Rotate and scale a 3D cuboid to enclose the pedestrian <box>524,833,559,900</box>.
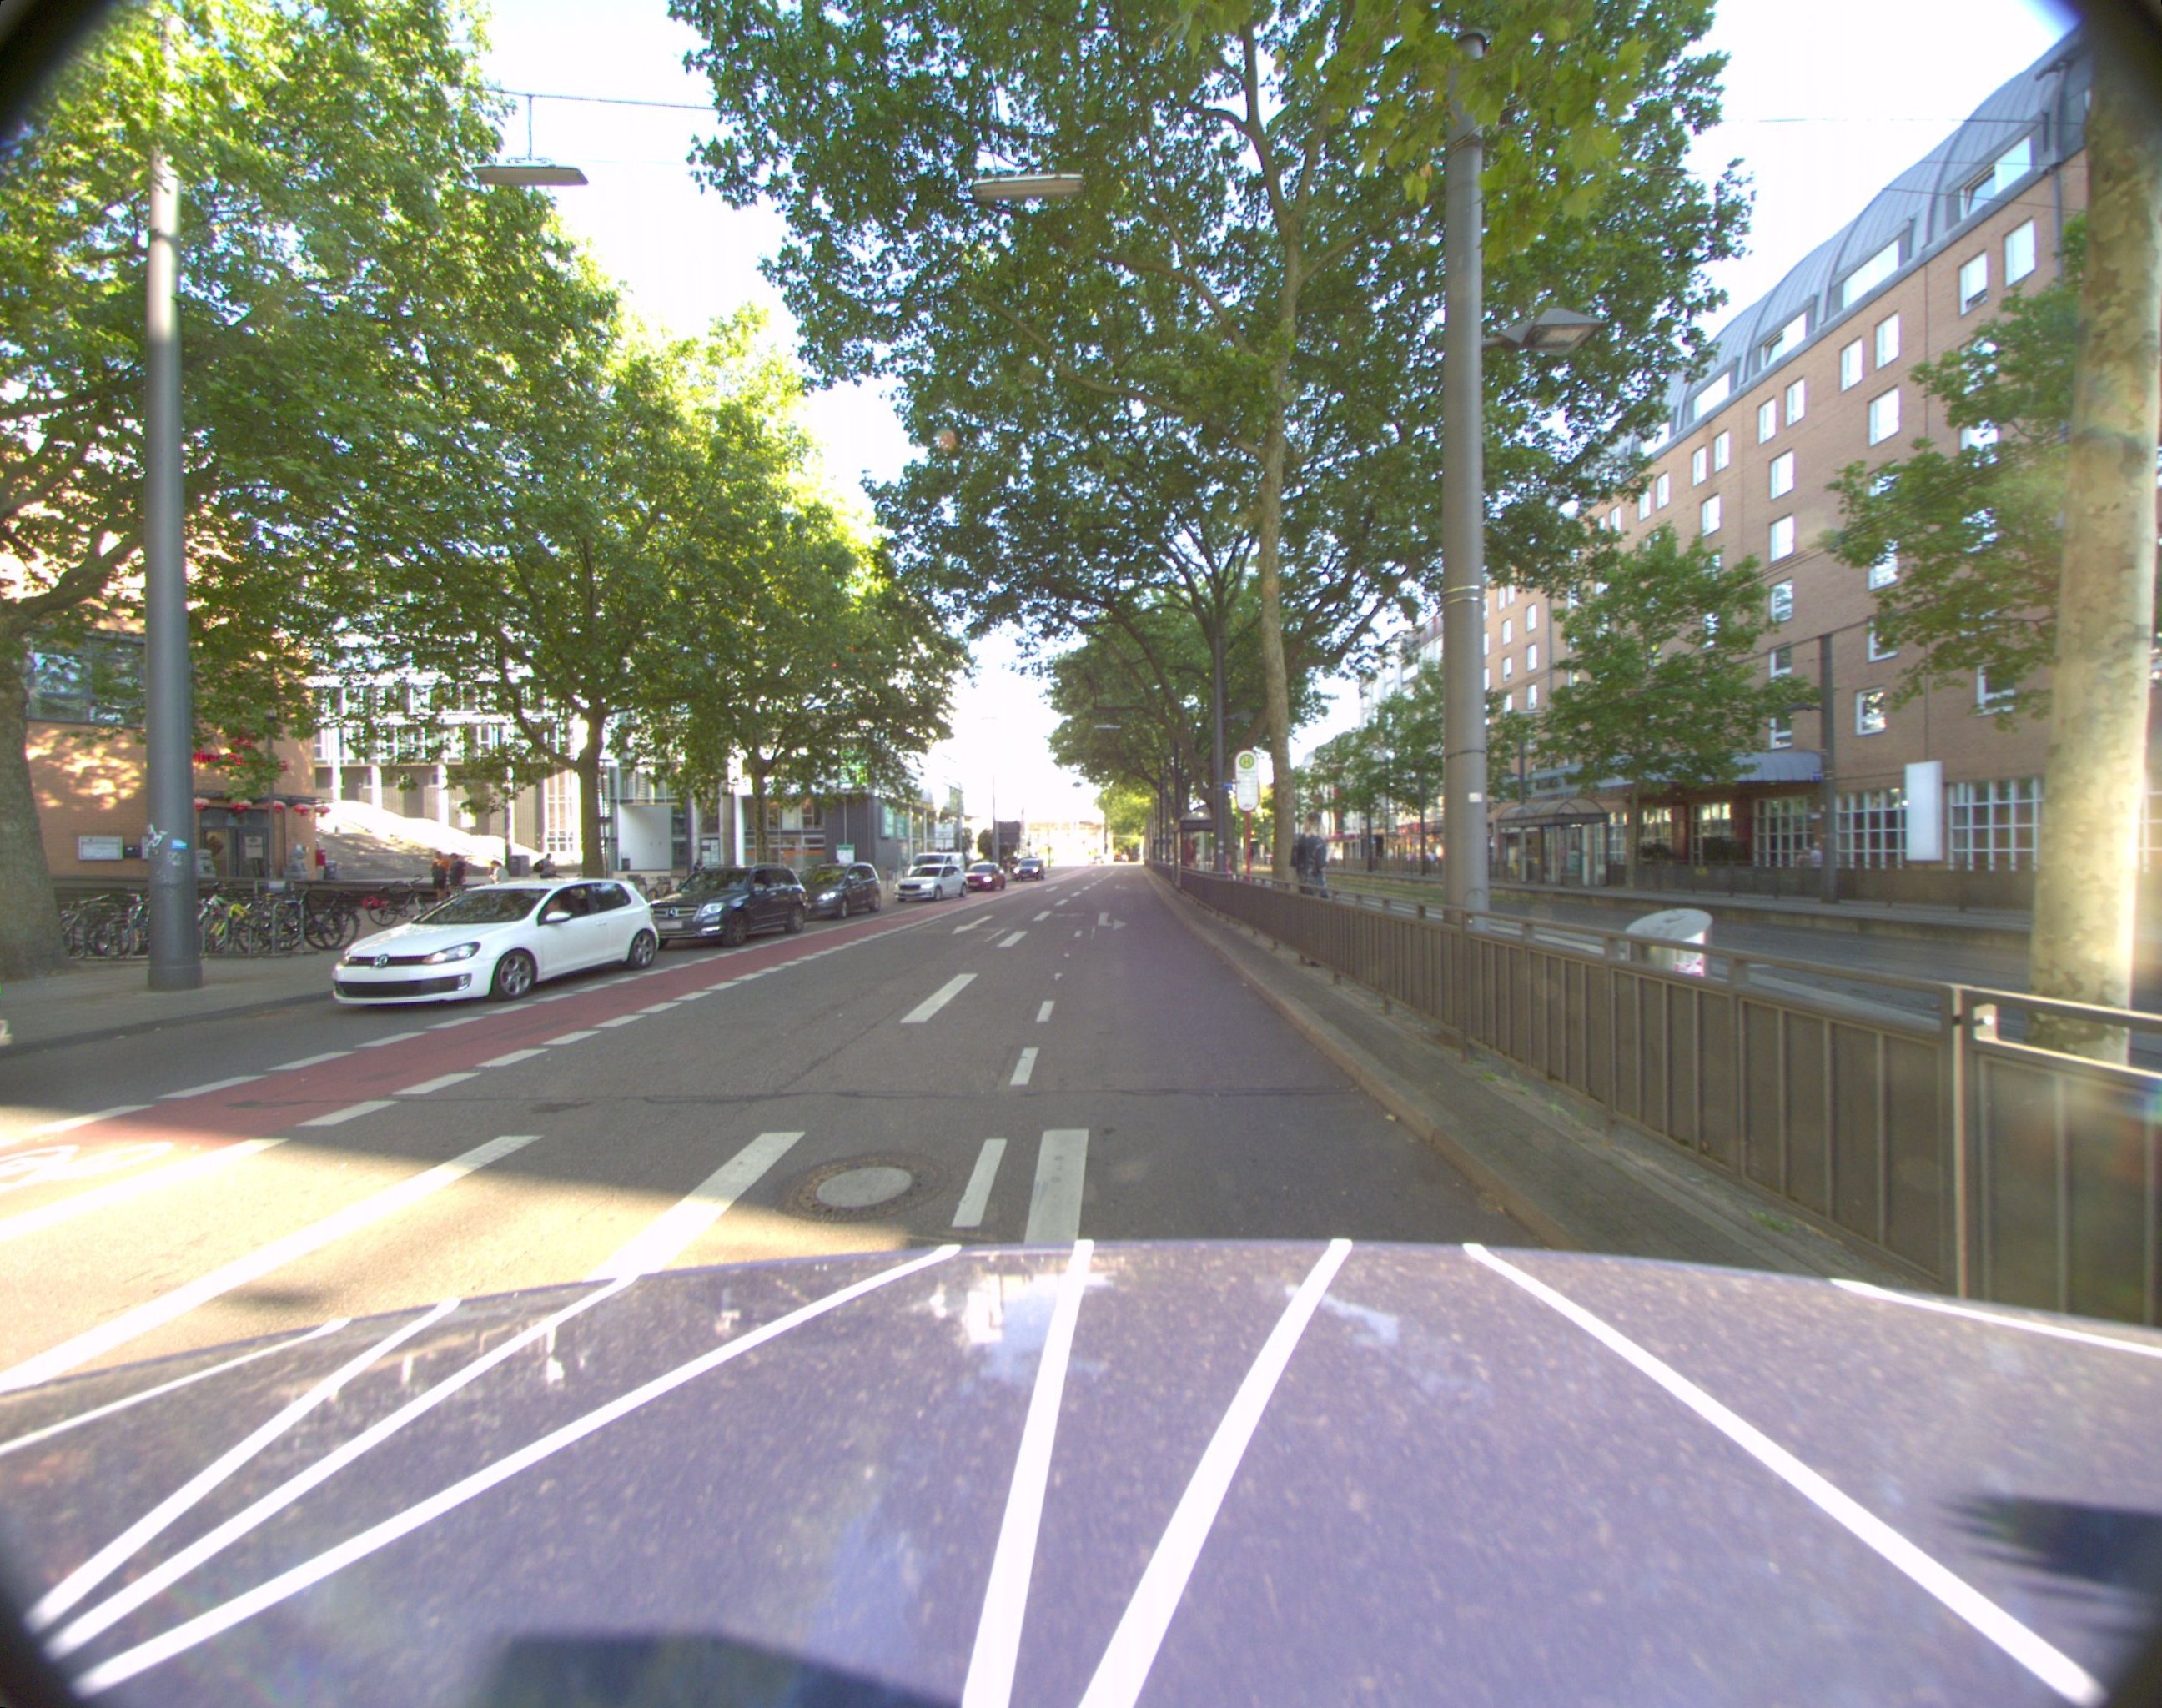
[{"bbox_3d":[-21.722,0.497,30.618,0.981,2.633,0.900,-3,1,-31],"label":"pedestrian"}]

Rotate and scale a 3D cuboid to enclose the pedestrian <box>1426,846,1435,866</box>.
[{"bbox_3d":[30.710,0.150,66.729,0.504,1.725,0.574,-1,1,3],"label":"pedestrian"}]

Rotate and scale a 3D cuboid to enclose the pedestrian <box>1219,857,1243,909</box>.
[{"bbox_3d":[3.876,0.746,19.636,0.542,1.310,0.524,-2,1,12],"label":"pedestrian"}]

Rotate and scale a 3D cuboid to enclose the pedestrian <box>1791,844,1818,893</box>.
[{"bbox_3d":[25.690,0.525,26.981,0.479,1.725,0.545,0,1,8],"label":"pedestrian"}]

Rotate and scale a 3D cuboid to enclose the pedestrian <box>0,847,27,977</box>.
[{"bbox_3d":[-17.081,0.896,11.464,0.934,2.002,1.091,-1,1,-25],"label":"pedestrian"}]

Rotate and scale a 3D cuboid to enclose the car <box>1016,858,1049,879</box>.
[{"bbox_3d":[-3.705,1.099,58.367,1.784,1.481,4.197,-3,0,6],"label":"car"}]

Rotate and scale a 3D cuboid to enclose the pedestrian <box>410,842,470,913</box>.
[{"bbox_3d":[-21.202,0.763,25.137,1.048,2.235,1.221,-1,1,38],"label":"pedestrian"}]

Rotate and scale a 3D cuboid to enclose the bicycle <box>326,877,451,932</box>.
[{"bbox_3d":[-17.848,1.270,19.716,0.699,1.193,2.700,-2,1,1],"label":"bicycle"}]

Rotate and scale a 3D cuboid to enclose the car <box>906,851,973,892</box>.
[{"bbox_3d":[-7.356,0.868,40.233,1.932,1.953,5.920,-2,0,5],"label":"car"}]

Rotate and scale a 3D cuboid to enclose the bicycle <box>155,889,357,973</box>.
[{"bbox_3d":[-14.047,1.257,13.087,0.751,1.155,2.398,-2,1,2],"label":"bicycle"}]

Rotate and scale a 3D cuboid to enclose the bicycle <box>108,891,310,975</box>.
[{"bbox_3d":[-14.854,1.299,13.076,0.671,1.155,2.305,-2,1,3],"label":"bicycle"}]

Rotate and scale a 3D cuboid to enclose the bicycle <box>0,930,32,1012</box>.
[{"bbox_3d":[-13.363,1.436,7.994,0.925,0.943,2.637,-2,1,1],"label":"bicycle"}]

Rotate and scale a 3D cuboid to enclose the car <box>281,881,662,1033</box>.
[{"bbox_3d":[-7.588,1.170,10.067,1.639,1.420,3.987,-2,0,3],"label":"car"}]

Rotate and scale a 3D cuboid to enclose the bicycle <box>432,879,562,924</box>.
[{"bbox_3d":[-16.221,1.293,21.097,3.328,1.077,1.150,0,1,18],"label":"bicycle"}]

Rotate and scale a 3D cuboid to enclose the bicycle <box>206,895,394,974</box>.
[{"bbox_3d":[-13.114,1.311,12.903,0.682,1.054,2.337,-1,1,2],"label":"bicycle"}]

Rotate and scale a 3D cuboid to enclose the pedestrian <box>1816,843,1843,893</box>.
[{"bbox_3d":[26.410,0.496,26.819,0.443,1.725,0.545,0,1,8],"label":"pedestrian"}]

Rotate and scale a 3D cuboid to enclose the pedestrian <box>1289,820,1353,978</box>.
[{"bbox_3d":[2.862,0.525,9.102,0.543,1.823,0.524,-2,1,0],"label":"pedestrian"}]

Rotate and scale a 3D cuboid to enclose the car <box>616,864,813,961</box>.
[{"bbox_3d":[-7.367,1.088,15.836,1.768,1.626,4.251,-2,0,4],"label":"car"}]

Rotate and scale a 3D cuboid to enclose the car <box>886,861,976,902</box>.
[{"bbox_3d":[-6.156,1.109,31.690,1.833,1.481,4.200,-2,0,18],"label":"car"}]

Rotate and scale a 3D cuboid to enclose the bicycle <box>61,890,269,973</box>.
[{"bbox_3d":[-15.608,1.273,13.079,0.657,1.155,2.293,-2,1,3],"label":"bicycle"}]

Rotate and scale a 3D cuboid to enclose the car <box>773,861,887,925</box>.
[{"bbox_3d":[-7.406,1.091,22.890,1.710,1.626,4.391,-2,0,3],"label":"car"}]

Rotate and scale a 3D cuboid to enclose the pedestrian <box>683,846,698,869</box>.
[{"bbox_3d":[-35.052,0.325,68.181,0.797,2.002,0.875,-2,1,1],"label":"pedestrian"}]

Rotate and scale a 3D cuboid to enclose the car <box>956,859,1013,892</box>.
[{"bbox_3d":[-4.934,1.071,39.326,1.834,1.481,4.197,-3,0,8],"label":"car"}]

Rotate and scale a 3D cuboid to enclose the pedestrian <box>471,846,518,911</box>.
[{"bbox_3d":[-20.498,0.856,26.563,0.842,2.220,0.905,-2,1,22],"label":"pedestrian"}]

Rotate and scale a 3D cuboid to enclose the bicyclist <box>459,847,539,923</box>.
[{"bbox_3d":[-16.095,0.837,21.040,1.296,2.002,1.158,-1,1,17],"label":"bicyclist"}]
